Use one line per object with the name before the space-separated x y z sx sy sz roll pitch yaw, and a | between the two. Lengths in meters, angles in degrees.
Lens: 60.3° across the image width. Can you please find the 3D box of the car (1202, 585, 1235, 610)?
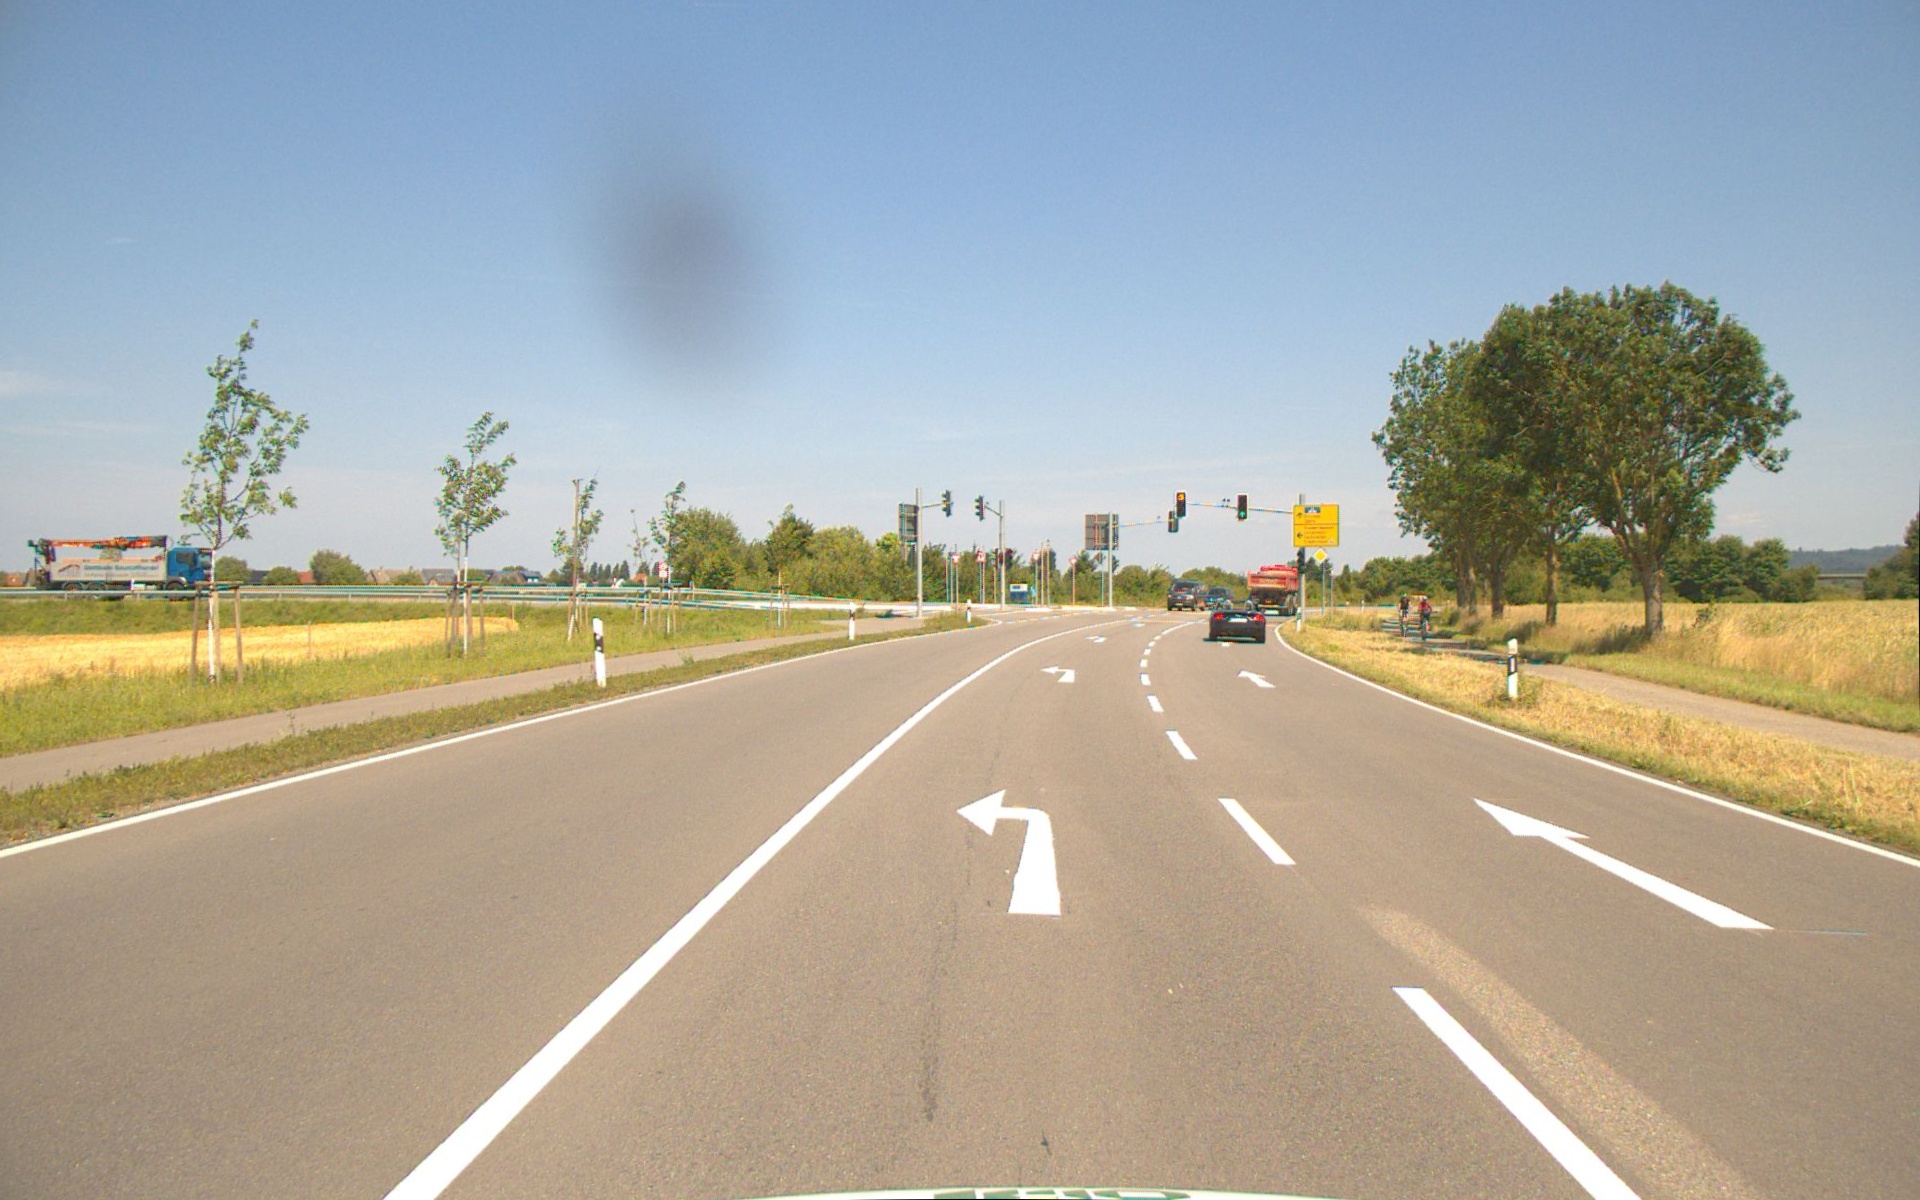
car | 19.059 -0.190 121.729 1.889 1.770 4.893 1 1 15

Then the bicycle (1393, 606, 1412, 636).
bicycle | 18.654 0.867 69.734 0.593 1.197 2.052 4 1 17

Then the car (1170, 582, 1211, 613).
car | 15.461 -0.160 110.793 1.890 2.012 4.686 1 1 18

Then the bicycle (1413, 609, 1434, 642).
bicycle | 18.274 1.003 65.254 0.684 1.231 2.052 3 0 13

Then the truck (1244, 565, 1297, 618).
truck | 19.534 -0.475 103.757 2.656 3.106 8.170 1 -1 14

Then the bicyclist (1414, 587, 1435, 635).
bicyclist | 18.318 0.418 65.269 0.614 1.813 0.978 5 2 14

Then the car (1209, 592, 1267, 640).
car | 8.702 0.519 51.873 1.710 1.400 3.682 2 -1 9

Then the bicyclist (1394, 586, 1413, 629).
bicyclist | 18.701 0.307 69.753 0.575 1.764 1.172 5 2 18

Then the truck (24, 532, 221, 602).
truck | -48.549 -1.922 96.101 9.882 3.859 2.624 1 0 -5
